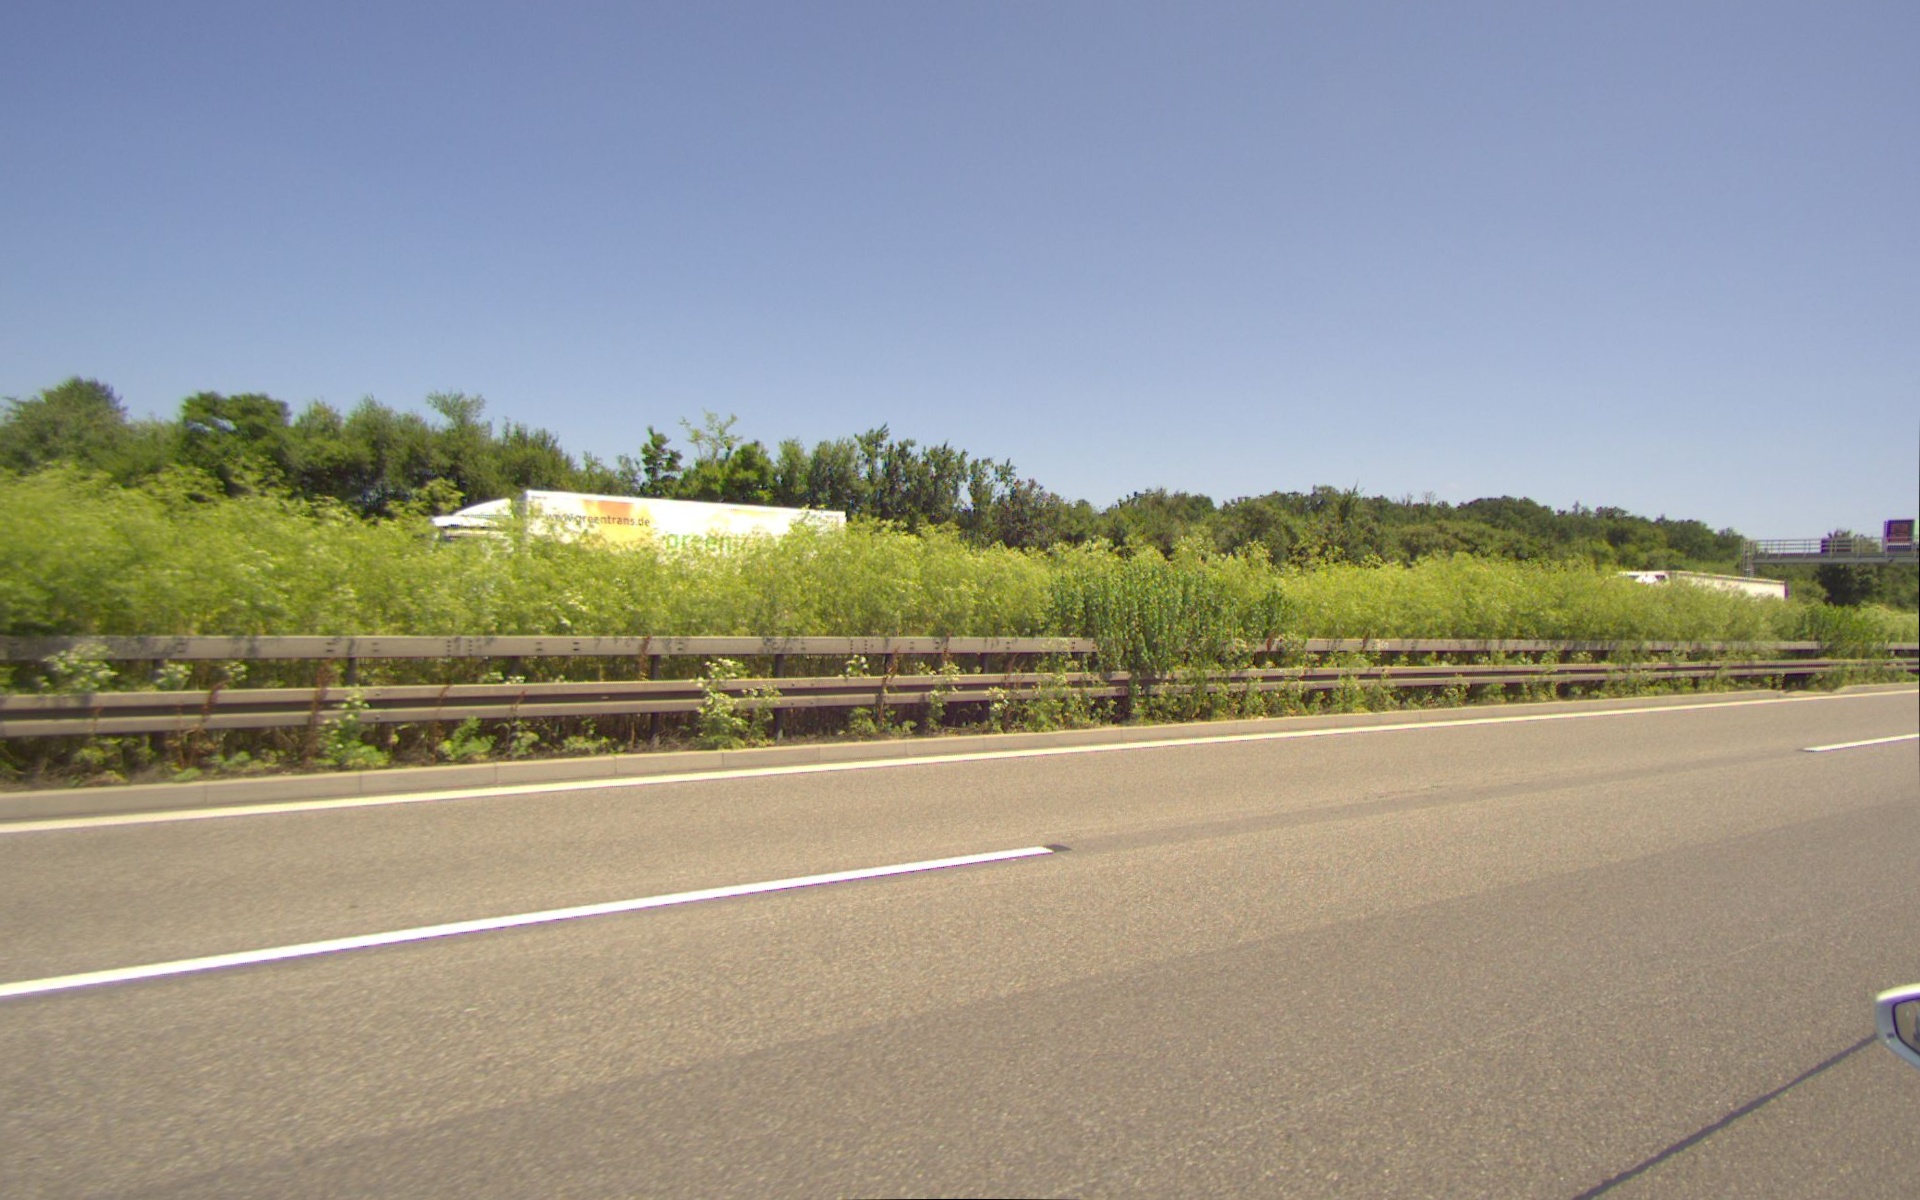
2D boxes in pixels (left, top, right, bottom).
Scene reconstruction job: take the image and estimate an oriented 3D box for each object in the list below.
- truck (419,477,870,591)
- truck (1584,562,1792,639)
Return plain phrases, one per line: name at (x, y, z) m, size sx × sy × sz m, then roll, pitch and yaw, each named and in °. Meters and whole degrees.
truck at (-7.053, -1.332, 23.448) m, size 9.743 × 2.040 × 2.640 m, roll 1°, pitch -1°, yaw -31°
truck at (38.281, 0.177, 52.387) m, size 16.649 × 3.595 × 2.790 m, roll 1°, pitch -2°, yaw -32°
